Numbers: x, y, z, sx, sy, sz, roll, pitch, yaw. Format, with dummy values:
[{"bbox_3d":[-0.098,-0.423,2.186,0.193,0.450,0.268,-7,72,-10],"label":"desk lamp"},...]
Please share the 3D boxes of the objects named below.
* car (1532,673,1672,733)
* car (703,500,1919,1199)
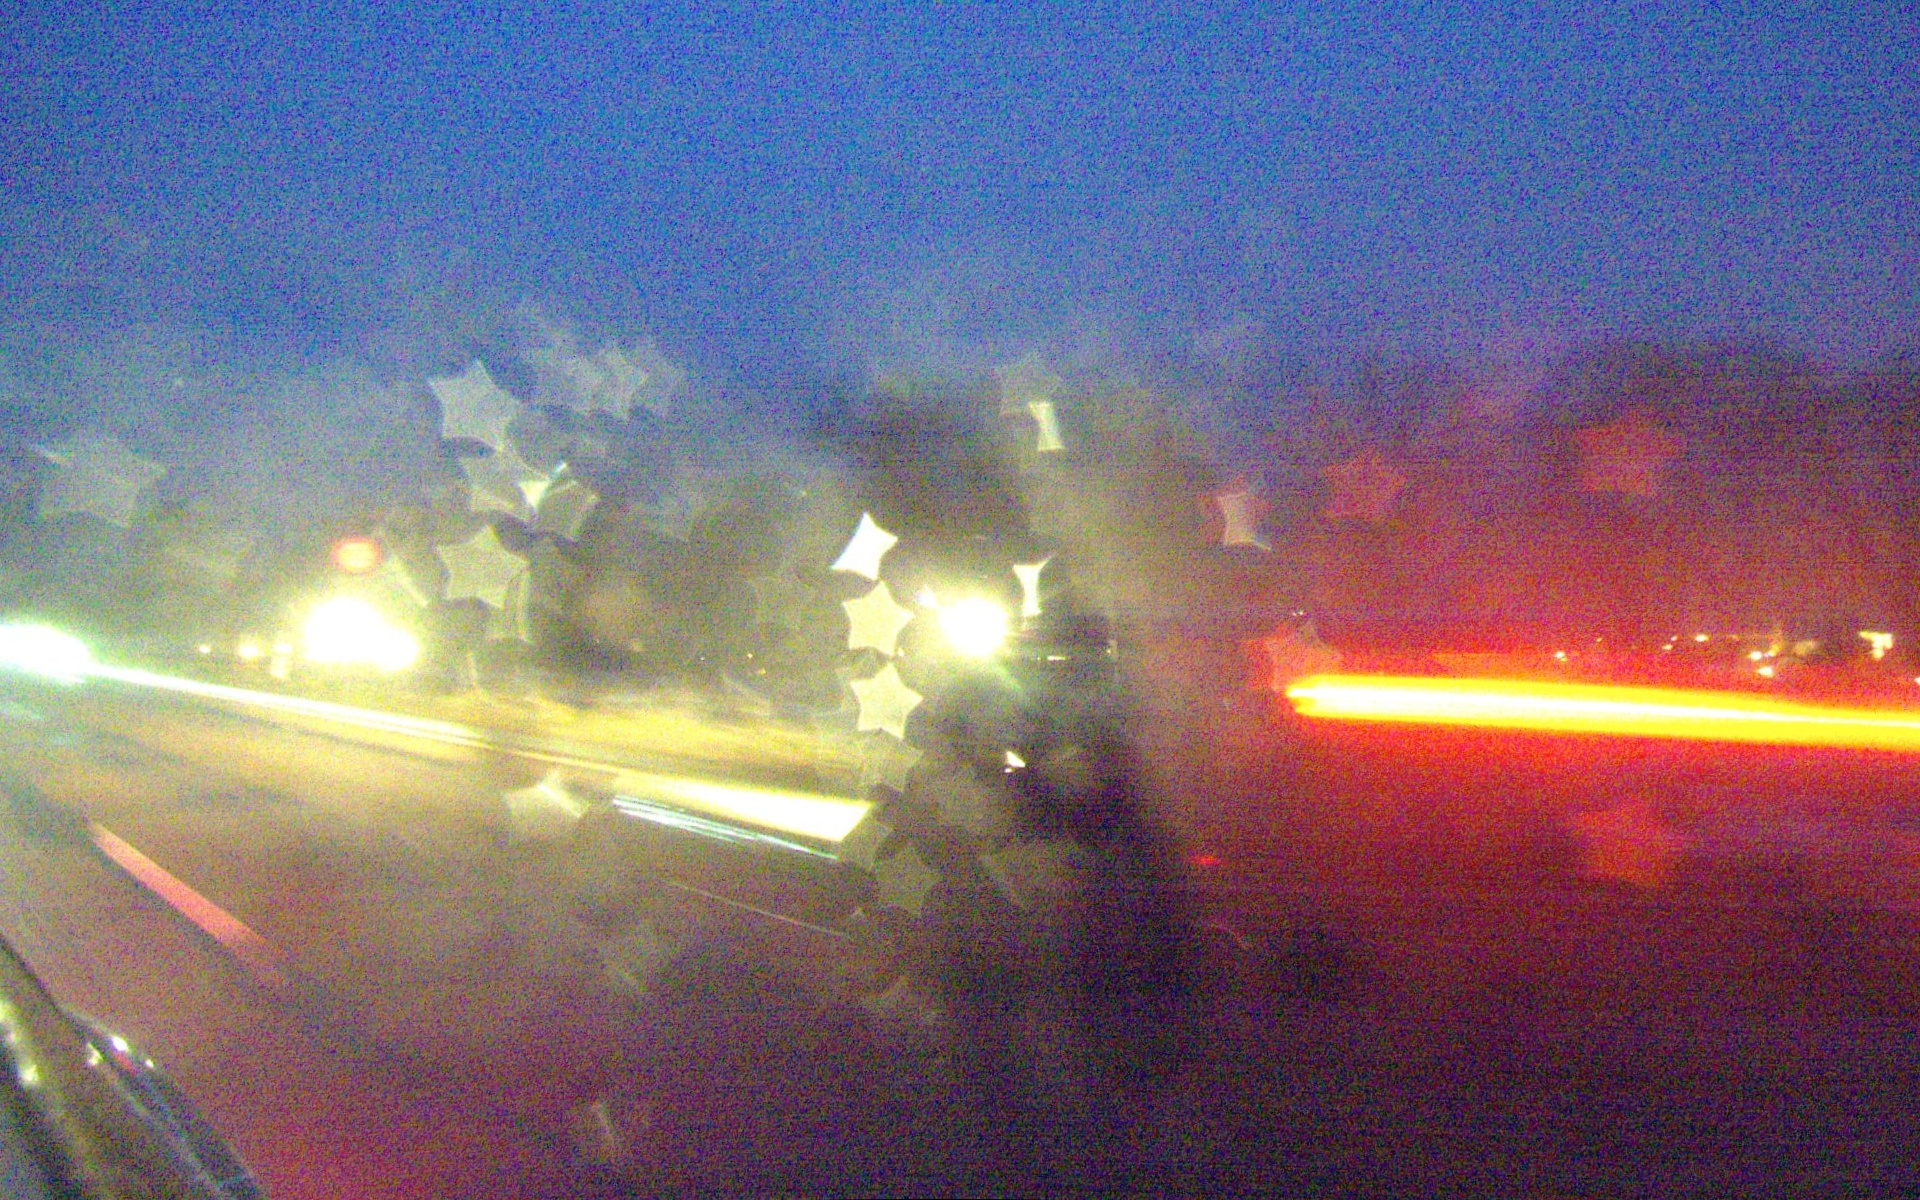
[{"bbox_3d":[20.485,3.235,32.439,1.632,1.532,3.461,-1,0,-23],"label":"car"},{"bbox_3d":[1.047,0.617,3.345,3.998,1.554,1.716,-1,0,41],"label":"car"}]
